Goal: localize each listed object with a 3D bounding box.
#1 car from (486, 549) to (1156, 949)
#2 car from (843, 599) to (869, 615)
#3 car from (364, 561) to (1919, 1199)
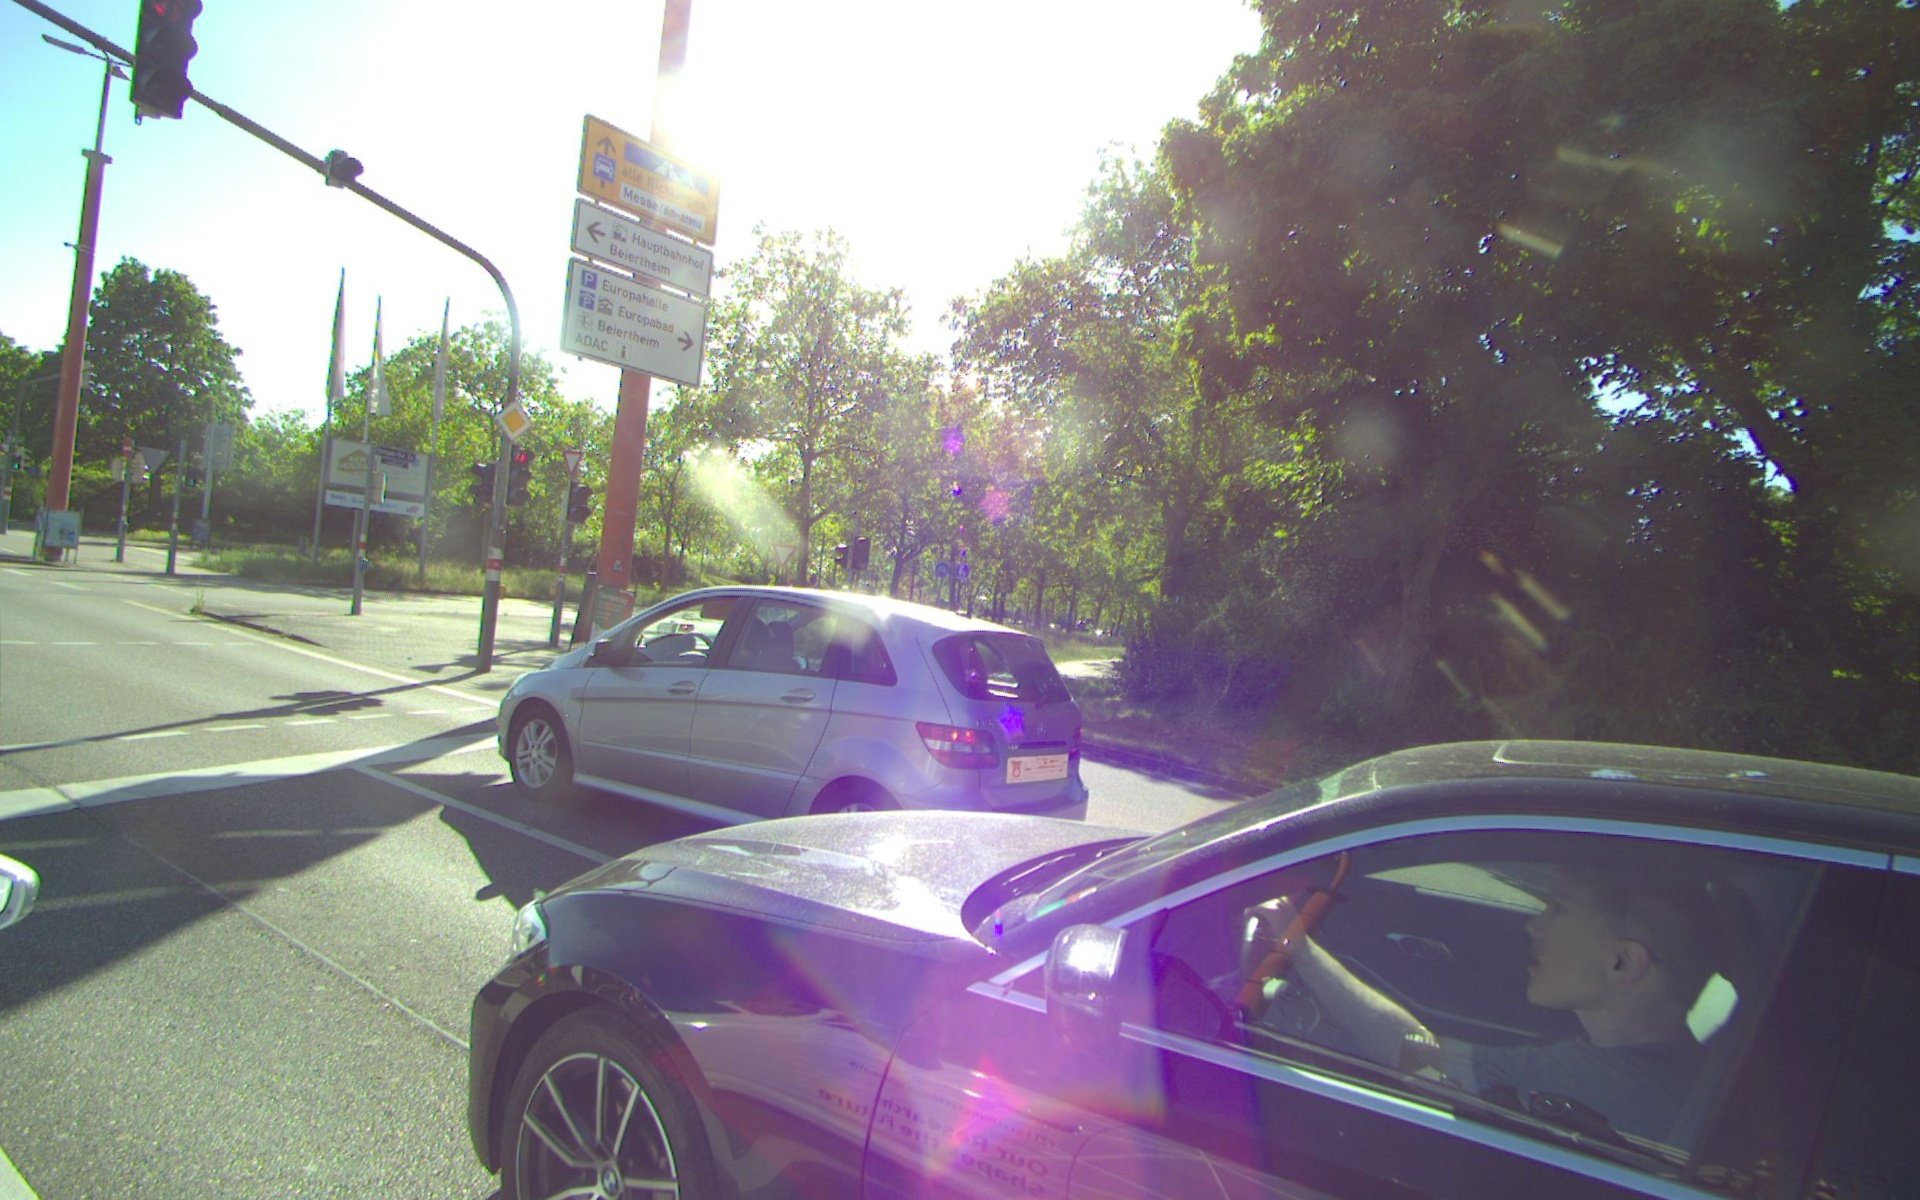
[{"bbox_3d":[-1.010,0.710,6.482,3.963,1.597,1.741,7,0,33],"label":"car"},{"bbox_3d":[-12.418,0.864,120.262,1.652,1.485,3.997,7,-1,14],"label":"car"},{"bbox_3d":[1.075,0.901,1.822,4.371,1.415,1.871,7,0,33],"label":"car"}]
